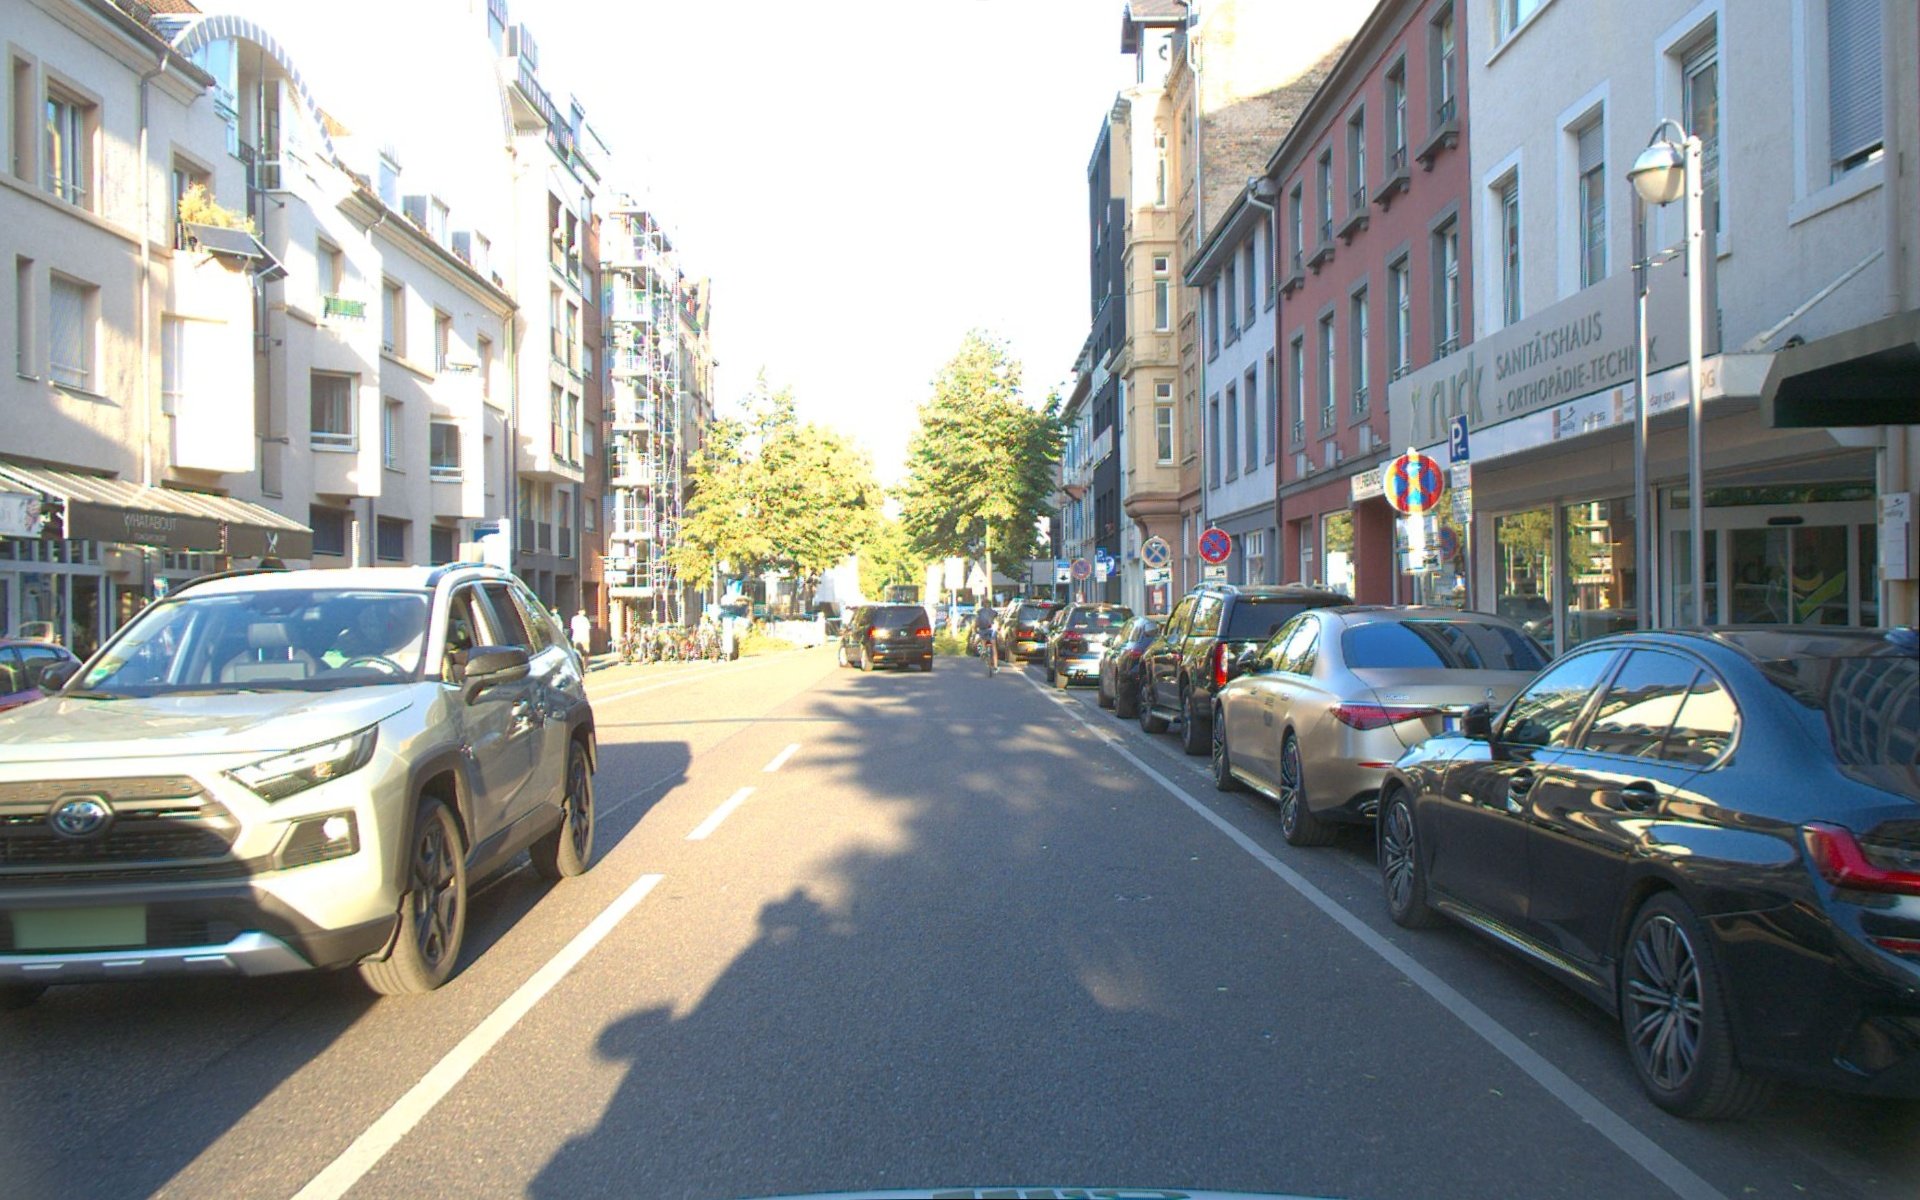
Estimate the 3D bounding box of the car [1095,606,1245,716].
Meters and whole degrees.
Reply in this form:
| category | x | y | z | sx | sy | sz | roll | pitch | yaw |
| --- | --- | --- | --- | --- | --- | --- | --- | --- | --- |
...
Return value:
| category | x | y | z | sx | sy | sz | roll | pitch | yaw |
| --- | --- | --- | --- | --- | --- | --- | --- | --- | --- |
| car | 3.110 | 0.881 | 25.237 | 1.726 | 1.509 | 4.306 | 0 | -1 | 0 |

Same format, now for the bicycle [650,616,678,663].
| category | x | y | z | sx | sy | sz | roll | pitch | yaw |
| --- | --- | --- | --- | --- | --- | --- | --- | --- | --- |
| bicycle | -9.119 | 1.203 | 51.073 | 0.766 | 1.397 | 3.135 | 1 | -1 | -9 |

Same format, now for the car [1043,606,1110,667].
| category | x | y | z | sx | sy | sz | roll | pitch | yaw |
| --- | --- | --- | --- | --- | --- | --- | --- | --- | --- |
| car | 2.954 | 0.925 | 42.468 | 1.554 | 1.509 | 3.266 | 0 | -1 | 1 |

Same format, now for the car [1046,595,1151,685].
| category | x | y | z | sx | sy | sz | roll | pitch | yaw |
| --- | --- | --- | --- | --- | --- | --- | --- | --- | --- |
| car | 2.744 | 0.791 | 33.593 | 1.775 | 1.697 | 4.205 | 0 | -1 | 0 |

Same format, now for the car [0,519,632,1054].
| category | x | y | z | sx | sy | sz | roll | pitch | yaw |
| --- | --- | --- | --- | --- | --- | --- | --- | --- | --- |
| car | -2.883 | 0.638 | 7.663 | 1.901 | 1.673 | 4.736 | -2 | -1 | -2 |

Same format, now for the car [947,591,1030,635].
| category | x | y | z | sx | sy | sz | roll | pitch | yaw |
| --- | --- | --- | --- | --- | --- | --- | --- | --- | --- |
| car | 1.393 | 0.631 | 80.220 | 3.903 | 2.049 | 2.001 | -1 | 0 | 3 |

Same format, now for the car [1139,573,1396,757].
| category | x | y | z | sx | sy | sz | roll | pitch | yaw |
| --- | --- | --- | --- | --- | --- | --- | --- | --- | --- |
| car | 3.288 | 0.670 | 18.726 | 1.845 | 1.785 | 5.057 | 1 | -1 | -2 |

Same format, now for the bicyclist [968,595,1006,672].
| category | x | y | z | sx | sy | sz | roll | pitch | yaw |
| --- | --- | --- | --- | --- | --- | --- | --- | --- | --- |
| bicyclist | 0.621 | 0.774 | 38.077 | 0.765 | 1.726 | 1.006 | -2 | -1 | -3 |

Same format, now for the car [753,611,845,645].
| category | x | y | z | sx | sy | sz | roll | pitch | yaw |
| --- | --- | --- | --- | --- | --- | --- | --- | --- | --- |
| car | -7.357 | 1.280 | 75.777 | 4.018 | 1.491 | 1.889 | 0 | -1 | 1 |

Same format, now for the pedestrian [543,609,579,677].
| category | x | y | z | sx | sy | sz | roll | pitch | yaw |
| --- | --- | --- | --- | --- | --- | --- | --- | --- | --- |
| pedestrian | -10.011 | 1.073 | 41.513 | 0.702 | 1.670 | 0.951 | 1 | -1 | -4 |

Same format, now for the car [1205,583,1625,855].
| category | x | y | z | sx | sy | sz | roll | pitch | yaw |
| --- | --- | --- | --- | --- | --- | --- | --- | --- | --- |
| car | 3.004 | 0.722 | 12.063 | 1.774 | 1.554 | 4.994 | 0 | -1 | 1 |

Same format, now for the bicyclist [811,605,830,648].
| category | x | y | z | sx | sy | sz | roll | pitch | yaw |
| --- | --- | --- | --- | --- | --- | --- | --- | --- | --- |
| bicyclist | -6.119 | 1.168 | 72.685 | 0.765 | 1.861 | 1.006 | -2 | -1 | -3 |

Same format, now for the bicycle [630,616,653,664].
| category | x | y | z | sx | sy | sz | roll | pitch | yaw |
| --- | --- | --- | --- | --- | --- | --- | --- | --- | --- |
| bicycle | -9.796 | 1.211 | 50.942 | 0.574 | 1.420 | 3.154 | 1 | -1 | -9 |

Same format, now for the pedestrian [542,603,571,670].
| category | x | y | z | sx | sy | sz | roll | pitch | yaw |
| --- | --- | --- | --- | --- | --- | --- | --- | --- | --- |
| pedestrian | -11.020 | 0.996 | 45.187 | 0.703 | 1.798 | 0.693 | 1 | -1 | -9 |

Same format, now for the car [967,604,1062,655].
| category | x | y | z | sx | sy | sz | roll | pitch | yaw |
| --- | --- | --- | --- | --- | --- | --- | --- | --- | --- |
| car | 1.721 | 0.942 | 52.738 | 2.910 | 1.563 | 1.432 | 1 | -1 | -5 |

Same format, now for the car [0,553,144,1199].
| category | x | y | z | sx | sy | sz | roll | pitch | yaw |
| --- | --- | --- | --- | --- | --- | --- | --- | --- | --- |
| car | -2.488 | 0.707 | 1.088 | 1.688 | 1.577 | 4.464 | -2 | -1 | 0 |

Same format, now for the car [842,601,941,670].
| category | x | y | z | sx | sy | sz | roll | pitch | yaw |
| --- | --- | --- | --- | --- | --- | --- | --- | --- | --- |
| car | -1.791 | 0.873 | 41.531 | 1.957 | 1.630 | 4.499 | 1 | -1 | -9 |

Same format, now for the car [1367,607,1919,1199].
| category | x | y | z | sx | sy | sz | roll | pitch | yaw |
| --- | --- | --- | --- | --- | --- | --- | --- | --- | --- |
| car | 2.979 | 0.773 | 6.156 | 1.717 | 1.445 | 4.508 | 1 | 0 | -1 |

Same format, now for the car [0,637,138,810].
| category | x | y | z | sx | sy | sz | roll | pitch | yaw |
| --- | --- | --- | --- | --- | --- | --- | --- | --- | --- |
| car | -8.915 | 1.060 | 14.392 | 1.627 | 1.427 | 3.882 | 1 | -1 | -1 |

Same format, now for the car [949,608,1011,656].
| category | x | y | z | sx | sy | sz | roll | pitch | yaw |
| --- | --- | --- | --- | --- | --- | --- | --- | --- | --- |
| car | 0.716 | 1.167 | 61.577 | 1.954 | 1.697 | 4.506 | 1 | -1 | -4 |

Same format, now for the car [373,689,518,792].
| category | x | y | z | sx | sy | sz | roll | pitch | yaw |
| --- | --- | --- | --- | --- | --- | --- | --- | --- | --- |
| car | -9.155 | 2.470 | 29.670 | 1.756 | 1.562 | 3.187 | -1 | 0 | -4 |

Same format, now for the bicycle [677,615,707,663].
| category | x | y | z | sx | sy | sz | roll | pitch | yaw |
| --- | --- | --- | --- | --- | --- | --- | --- | --- | --- |
| bicycle | -8.289 | 1.196 | 51.226 | 0.876 | 1.420 | 3.159 | 0 | -1 | -9 |

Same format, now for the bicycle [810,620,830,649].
| category | x | y | z | sx | sy | sz | roll | pitch | yaw |
| --- | --- | --- | --- | --- | --- | --- | --- | --- | --- |
| bicycle | -6.136 | 1.515 | 72.671 | 0.765 | 1.225 | 2.019 | -2 | -1 | -3 |

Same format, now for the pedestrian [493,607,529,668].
| category | x | y | z | sx | sy | sz | roll | pitch | yaw |
| --- | --- | --- | --- | --- | --- | --- | --- | --- | --- |
| pedestrian | -12.527 | 1.045 | 46.128 | 0.701 | 1.670 | 0.855 | 0 | -1 | 4 |

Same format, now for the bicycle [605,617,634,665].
| category | x | y | z | sx | sy | sz | roll | pitch | yaw |
| --- | --- | --- | --- | --- | --- | --- | --- | --- | --- |
| bicycle | -10.451 | 1.246 | 50.822 | 0.707 | 1.420 | 3.146 | 1 | -1 | -9 |

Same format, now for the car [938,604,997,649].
| category | x | y | z | sx | sy | sz | roll | pitch | yaw |
| --- | --- | --- | --- | --- | --- | --- | --- | --- | --- |
| car | 0.299 | 1.188 | 74.581 | 2.221 | 1.797 | 4.505 | 5 | -1 | -4 |

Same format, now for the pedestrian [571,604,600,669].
| category | x | y | z | sx | sy | sz | roll | pitch | yaw |
| --- | --- | --- | --- | --- | --- | --- | --- | --- | --- |
| pedestrian | -10.299 | 1.008 | 45.455 | 0.703 | 1.771 | 0.737 | 1 | -1 | -9 |

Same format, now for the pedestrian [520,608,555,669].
| category | x | y | z | sx | sy | sz | roll | pitch | yaw |
| --- | --- | --- | --- | --- | --- | --- | --- | --- | --- |
| pedestrian | -11.739 | 1.059 | 45.960 | 0.701 | 1.670 | 0.855 | 0 | -1 | 3 |

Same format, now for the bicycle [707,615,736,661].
| category | x | y | z | sx | sy | sz | roll | pitch | yaw |
| --- | --- | --- | --- | --- | --- | --- | --- | --- | --- |
| bicycle | -7.419 | 1.161 | 51.378 | 0.829 | 1.374 | 3.180 | -1 | -1 | -9 |

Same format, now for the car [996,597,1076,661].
| category | x | y | z | sx | sy | sz | roll | pitch | yaw |
| --- | --- | --- | --- | --- | --- | --- | --- | --- | --- |
| car | 2.115 | 0.816 | 47.007 | 1.789 | 1.725 | 4.365 | 1 | -1 | -4 |

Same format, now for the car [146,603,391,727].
| category | x | y | z | sx | sy | sz | roll | pitch | yaw |
| --- | --- | --- | --- | --- | --- | --- | --- | --- | --- |
| car | -8.981 | 0.813 | 21.827 | 1.676 | 1.479 | 3.724 | 0 | -1 | -1 |

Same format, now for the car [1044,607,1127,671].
| category | x | y | z | sx | sy | sz | roll | pitch | yaw |
| --- | --- | --- | --- | --- | --- | --- | --- | --- | --- |
| car | 2.880 | 0.889 | 38.520 | 1.632 | 1.402 | 3.802 | 0 | -1 | 0 |

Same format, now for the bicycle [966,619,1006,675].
| category | x | y | z | sx | sy | sz | roll | pitch | yaw |
| --- | --- | --- | --- | --- | --- | --- | --- | --- | --- |
| bicycle | 0.592 | 1.060 | 38.066 | 0.765 | 1.225 | 2.019 | -2 | -1 | -3 |
